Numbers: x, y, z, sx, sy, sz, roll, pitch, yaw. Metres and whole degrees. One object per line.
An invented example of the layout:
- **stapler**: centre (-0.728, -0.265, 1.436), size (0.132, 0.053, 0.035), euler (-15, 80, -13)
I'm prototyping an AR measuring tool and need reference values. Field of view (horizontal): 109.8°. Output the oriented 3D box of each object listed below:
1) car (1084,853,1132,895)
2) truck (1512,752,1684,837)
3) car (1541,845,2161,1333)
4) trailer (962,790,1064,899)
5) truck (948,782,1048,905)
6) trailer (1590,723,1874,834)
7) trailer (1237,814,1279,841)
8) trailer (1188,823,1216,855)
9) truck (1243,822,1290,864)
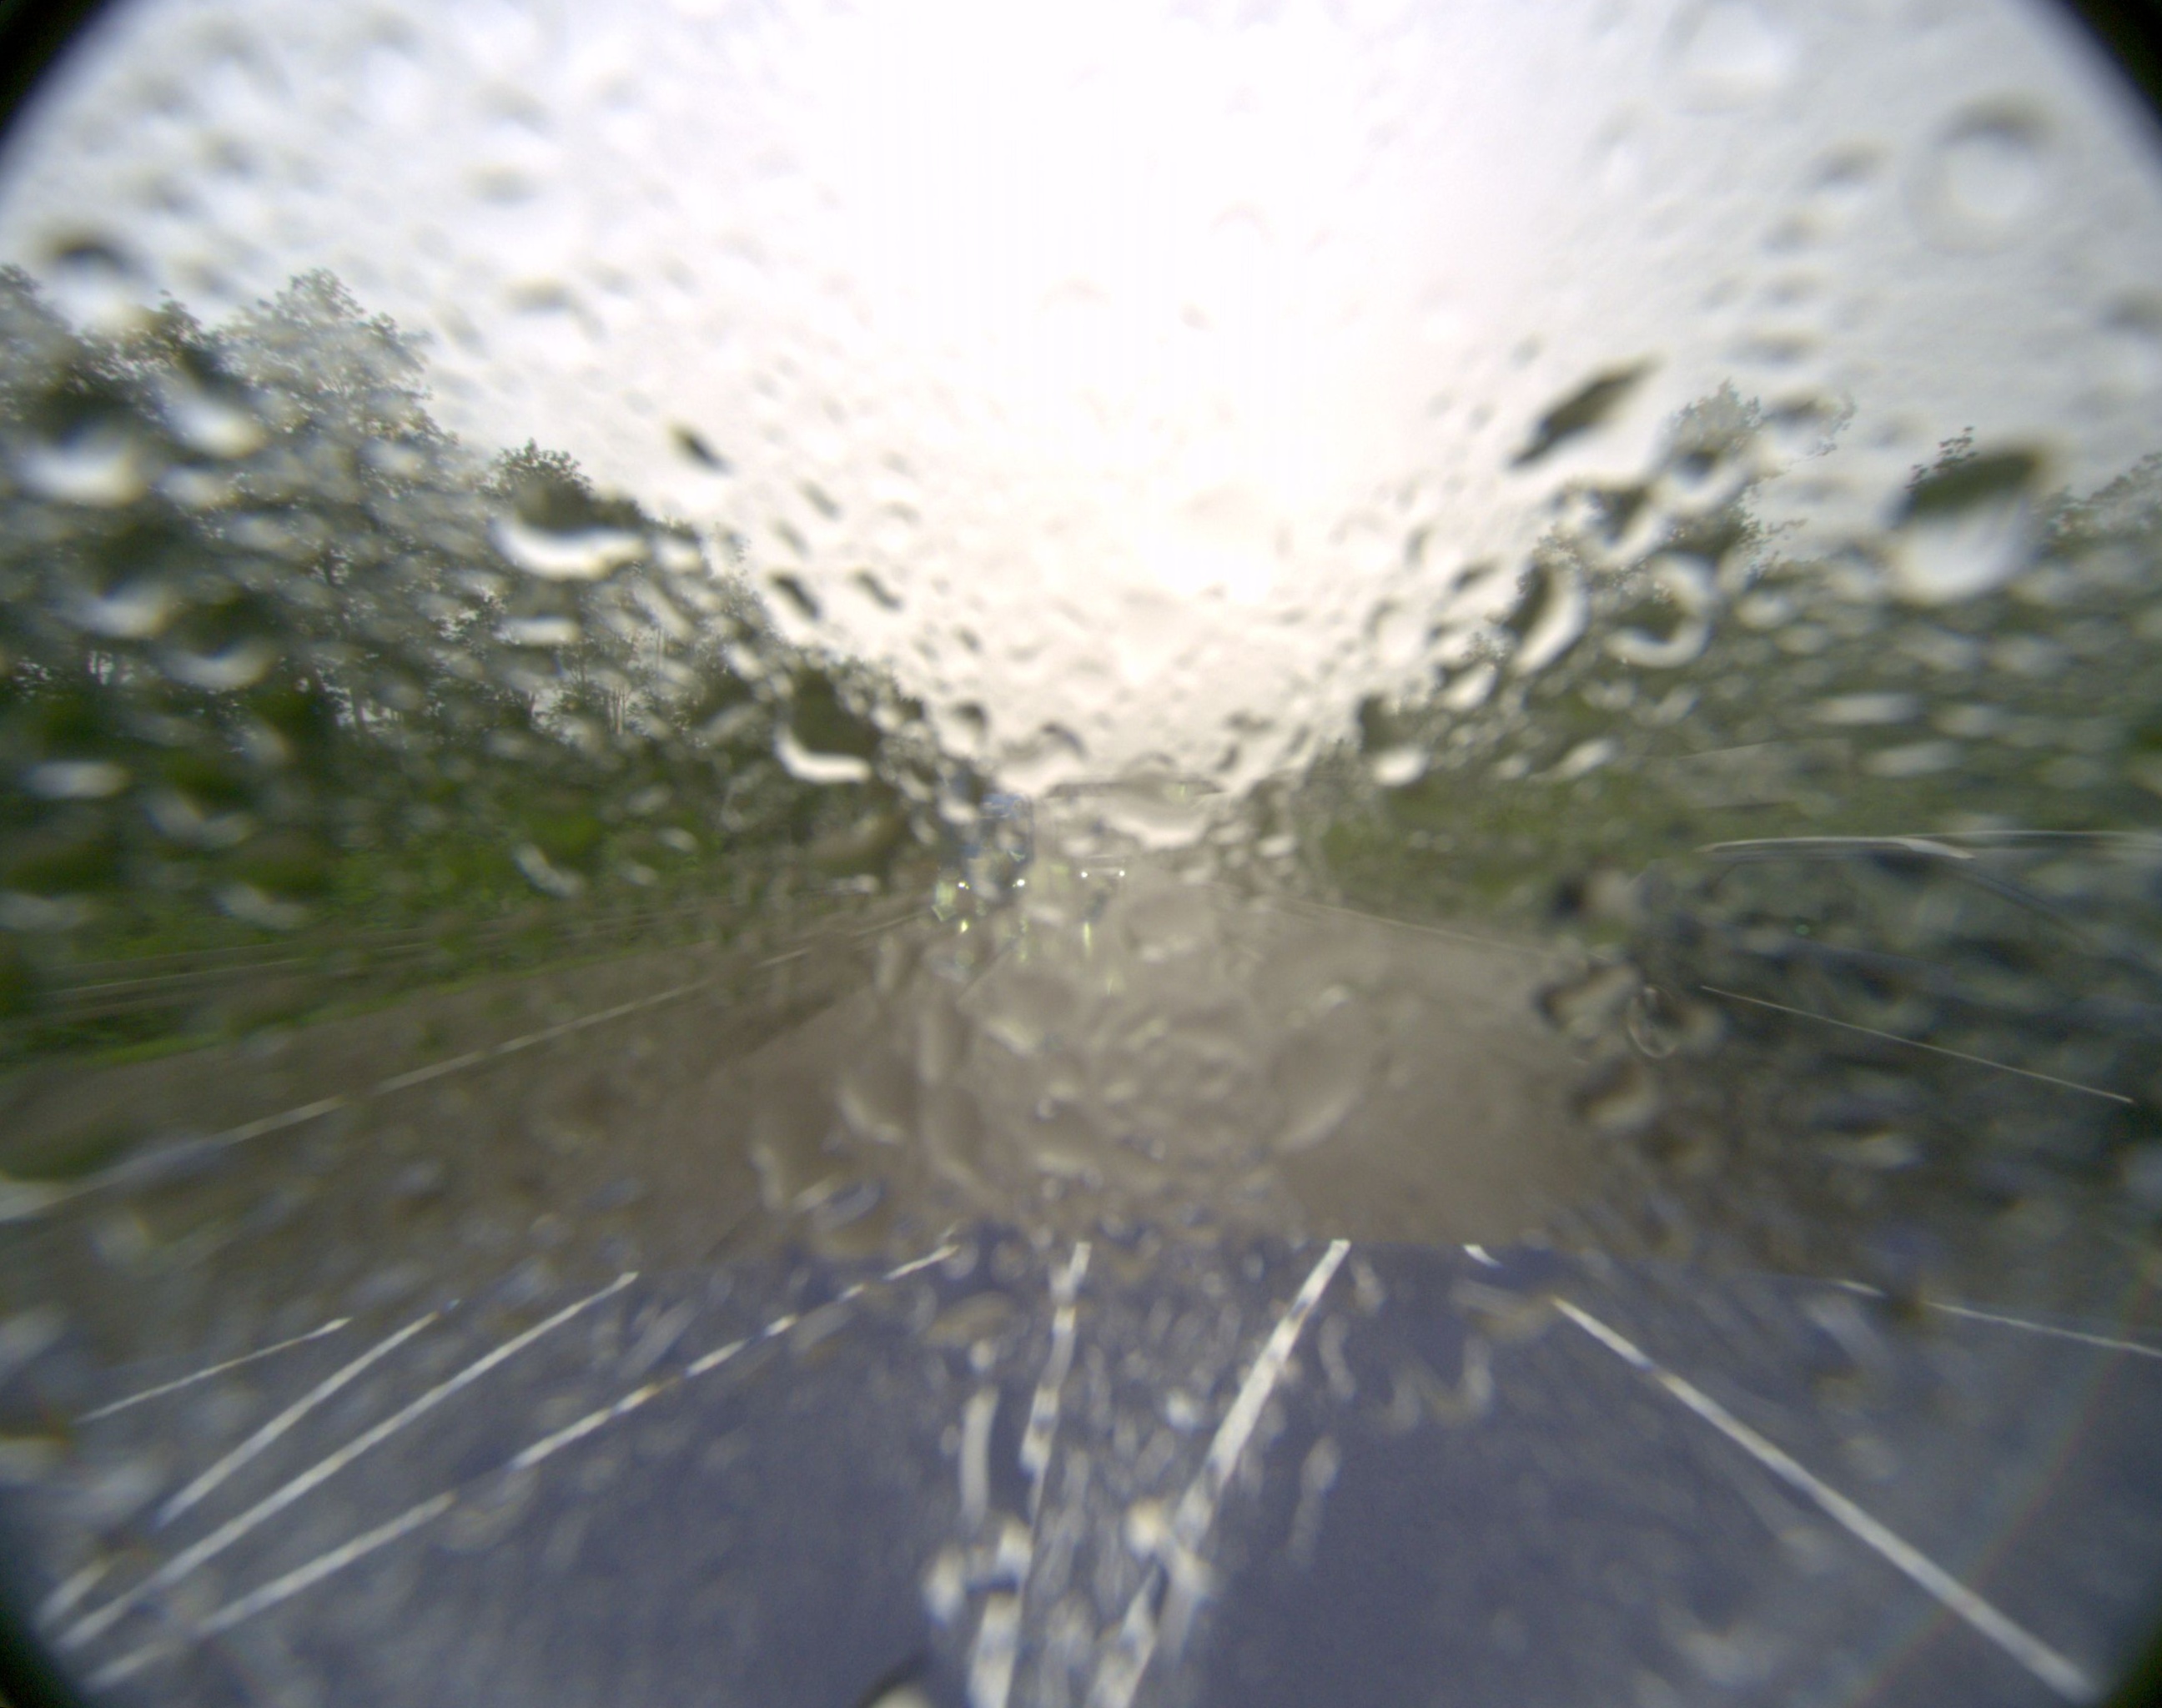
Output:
- **car**: centre (1.075, 0.754, 30.827), size (1.751, 1.545, 4.090), euler (-2, 0, 1)
- **truck**: centre (17.568, -1.907, 26.249), size (2.245, 2.408, 5.343), euler (-2, 0, 0)
- **car**: centre (4.467, 0.748, 3.057), size (2.059, 1.477, 5.157), euler (-3, 1, 0)
- **trailer**: centre (-2.705, -0.414, 35.370), size (2.750, 3.941, 14.129), euler (-3, 1, 2)
- **truck**: centre (-2.929, -0.373, 28.841), size (2.755, 4.055, 6.482), euler (-2, 1, 2)
- **trailer**: centre (17.499, -1.854, 21.151), size (2.276, 2.414, 6.647), euler (-3, 1, 1)
- **trailer**: centre (24.441, -3.549, 105.642), size (3.436, 3.364, 11.548), euler (-2, 0, 2)
- **trailer**: centre (21.714, -2.583, 136.588), size (3.436, 5.426, 11.548), euler (-2, 0, 2)
- **truck**: centre (19.139, -1.109, 78.789), size (3.042, 3.994, 7.707), euler (-2, 0, 2)
